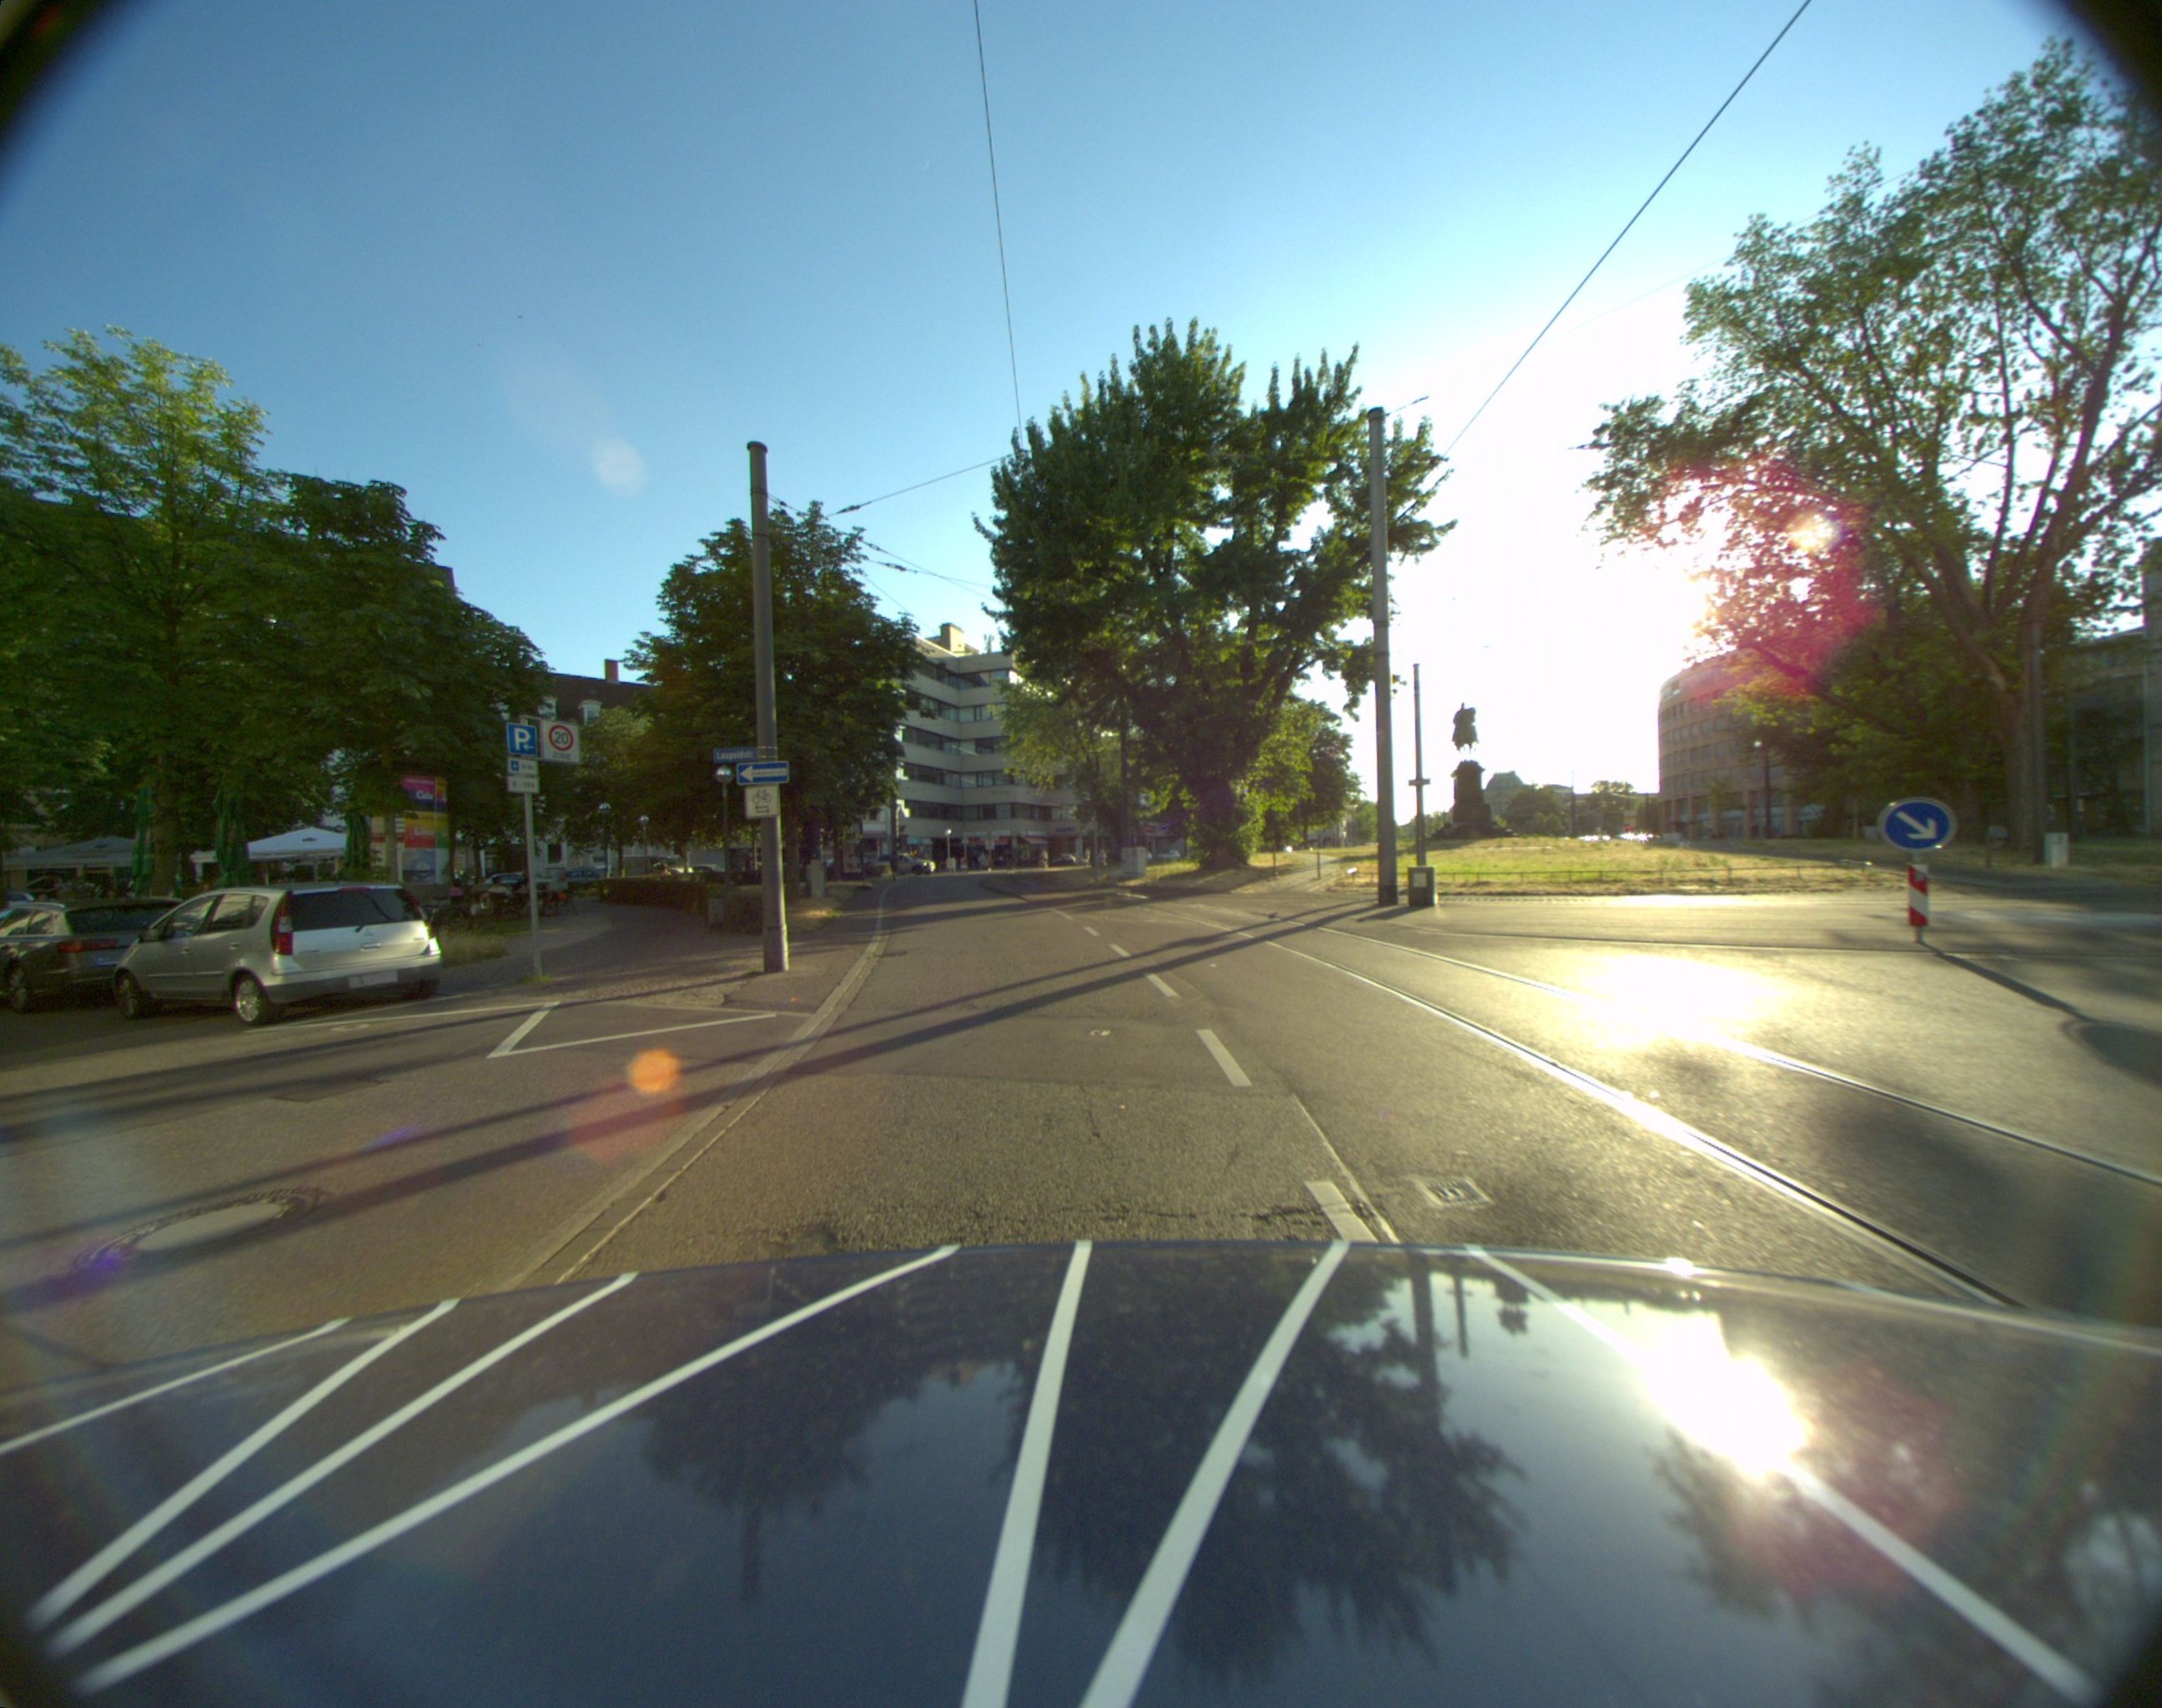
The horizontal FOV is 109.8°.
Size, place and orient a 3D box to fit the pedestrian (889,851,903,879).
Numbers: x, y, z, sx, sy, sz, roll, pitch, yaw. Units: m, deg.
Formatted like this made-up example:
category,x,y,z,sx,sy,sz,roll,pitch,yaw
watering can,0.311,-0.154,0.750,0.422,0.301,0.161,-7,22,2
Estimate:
category,x,y,z,sx,sy,sz,roll,pitch,yaw
pedestrian,-11.474,0.664,47.151,0.588,1.733,0.644,-2,0,14

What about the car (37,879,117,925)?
category,x,y,z,sx,sy,sz,roll,pitch,yaw
car,-43.429,2.037,32.932,3.989,1.763,1.916,-2,1,38

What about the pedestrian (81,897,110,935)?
category,x,y,z,sx,sy,sz,roll,pitch,yaw
pedestrian,-30.451,1.912,23.481,0.529,1.111,0.459,-1,2,41

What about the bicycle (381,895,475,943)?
category,x,y,z,sx,sy,sz,roll,pitch,yaw
bicycle,-14.843,1.460,17.290,0.554,0.924,1.532,-1,2,44

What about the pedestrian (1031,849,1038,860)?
category,x,y,z,sx,sy,sz,roll,pitch,yaw
pedestrian,-5.714,0.112,93.168,0.611,1.313,0.592,-1,2,13

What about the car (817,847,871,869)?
category,x,y,z,sx,sy,sz,roll,pitch,yaw
car,-21.665,0.323,69.647,1.927,1.774,4.237,1,3,45

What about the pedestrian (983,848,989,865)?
category,x,y,z,sx,sy,sz,roll,pitch,yaw
pedestrian,-10.416,0.321,83.574,0.604,1.828,0.573,2,3,-10

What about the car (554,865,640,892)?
category,x,y,z,sx,sy,sz,roll,pitch,yaw
car,-29.727,1.467,46.783,3.996,1.390,2.000,-3,1,5

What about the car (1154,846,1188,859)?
category,x,y,z,sx,sy,sz,roll,pitch,yaw
car,12.272,-0.191,102.961,4.531,1.596,1.995,-3,1,-42

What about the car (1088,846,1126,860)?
category,x,y,z,sx,sy,sz,roll,pitch,yaw
car,3.192,-0.133,93.806,4.531,1.596,1.995,-3,1,-42

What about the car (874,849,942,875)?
category,x,y,z,sx,sy,sz,roll,pitch,yaw
car,-13.626,0.615,59.835,4.702,1.761,2.002,-3,1,12

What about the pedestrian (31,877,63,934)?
category,x,y,z,sx,sy,sz,roll,pitch,yaw
pedestrian,-30.882,1.525,22.698,0.329,1.676,0.388,-2,2,-12

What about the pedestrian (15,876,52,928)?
category,x,y,z,sx,sy,sz,roll,pitch,yaw
pedestrian,-32.700,1.476,23.724,0.638,1.570,0.530,-1,2,41

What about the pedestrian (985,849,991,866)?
category,x,y,z,sx,sy,sz,roll,pitch,yaw
pedestrian,-10.147,0.403,82.977,0.500,1.828,0.533,2,3,-9

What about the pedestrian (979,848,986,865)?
category,x,y,z,sx,sy,sz,roll,pitch,yaw
pedestrian,-10.930,0.295,84.133,0.537,1.828,0.619,0,3,-38

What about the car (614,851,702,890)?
category,x,y,z,sx,sy,sz,roll,pitch,yaw
car,-27.374,1.038,49.157,4.871,2.228,2.097,-3,1,18

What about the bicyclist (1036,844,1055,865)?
category,x,y,z,sx,sy,sz,roll,pitch,yaw
bicyclist,-3.483,0.046,75.359,1.233,1.980,1.369,-2,1,29

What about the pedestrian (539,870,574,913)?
category,x,y,z,sx,sy,sz,roll,pitch,yaw
pedestrian,-15.545,1.110,22.532,0.567,1.237,0.614,-1,2,31

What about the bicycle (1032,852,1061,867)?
category,x,y,z,sx,sy,sz,roll,pitch,yaw
bicycle,-3.388,0.552,75.474,1.269,1.353,3.246,-2,1,29

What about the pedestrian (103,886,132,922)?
category,x,y,z,sx,sy,sz,roll,pitch,yaw
pedestrian,-31.475,1.620,24.833,0.556,1.111,0.494,-1,2,41

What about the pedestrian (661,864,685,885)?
category,x,y,z,sx,sy,sz,roll,pitch,yaw
pedestrian,-24.740,1.230,46.058,0.963,1.219,1.367,-3,1,-42

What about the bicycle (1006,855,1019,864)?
category,x,y,z,sx,sy,sz,roll,pitch,yaw
bicycle,-7.905,0.645,88.025,1.446,0.987,0.531,-1,3,-5

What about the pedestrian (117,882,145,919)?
category,x,y,z,sx,sy,sz,roll,pitch,yaw
pedestrian,-30.042,1.461,24.029,0.556,1.111,0.459,-1,2,41

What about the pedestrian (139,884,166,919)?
category,x,y,z,sx,sy,sz,roll,pitch,yaw
pedestrian,-31.037,1.579,25.405,0.556,1.111,0.494,-1,2,41

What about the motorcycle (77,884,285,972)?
category,x,y,z,sx,sy,sz,roll,pitch,yaw
motorcycle,-16.877,1.345,14.360,2.246,1.360,0.949,-4,2,-28

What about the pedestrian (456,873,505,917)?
category,x,y,z,sx,sy,sz,roll,pitch,yaw
pedestrian,-18.685,1.281,23.659,0.661,1.235,0.953,-6,0,35

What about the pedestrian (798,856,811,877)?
category,x,y,z,sx,sy,sz,roll,pitch,yaw
pedestrian,-24.272,1.065,66.693,0.637,1.789,0.796,-2,1,45

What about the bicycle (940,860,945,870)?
category,x,y,z,sx,sy,sz,roll,pitch,yaw
bicycle,-13.983,1.124,76.752,0.302,0.987,1.292,-3,1,-18

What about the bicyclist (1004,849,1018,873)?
category,x,y,z,sx,sy,sz,roll,pitch,yaw
bicyclist,-5.771,0.557,63.010,0.925,1.962,1.112,-3,1,-13

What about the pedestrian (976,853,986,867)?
category,x,y,z,sx,sy,sz,roll,pitch,yaw
pedestrian,-10.777,0.624,81.726,0.794,1.528,0.568,-4,3,-41

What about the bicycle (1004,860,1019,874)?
category,x,y,z,sx,sy,sz,roll,pitch,yaw
bicycle,-5.760,1.074,63.098,0.936,1.070,2.219,-3,1,-12

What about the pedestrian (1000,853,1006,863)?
category,x,y,z,sx,sy,sz,roll,pitch,yaw
pedestrian,-9.132,0.439,88.693,0.460,1.188,0.421,3,3,22

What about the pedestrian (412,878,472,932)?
category,x,y,z,sx,sy,sz,roll,pitch,yaw
pedestrian,-16.642,1.327,19.791,0.950,1.276,0.664,-6,0,13

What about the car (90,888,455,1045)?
category,x,y,z,sx,sy,sz,roll,pitch,yaw
car,-9.811,1.251,9.272,3.569,1.505,1.741,-2,1,20

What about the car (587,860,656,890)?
category,x,y,z,sx,sy,sz,roll,pitch,yaw
car,-34.293,1.524,56.764,4.007,1.875,1.946,-3,4,-44

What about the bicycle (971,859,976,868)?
category,x,y,z,sx,sy,sz,roll,pitch,yaw
bicycle,-11.429,0.991,80.561,0.302,0.987,1.292,-3,1,-18

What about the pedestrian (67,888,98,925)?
category,x,y,z,sx,sy,sz,roll,pitch,yaw
pedestrian,-31.891,1.671,24.277,0.556,1.111,0.494,-1,2,41

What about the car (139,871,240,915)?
category,x,y,z,sx,sy,sz,roll,pitch,yaw
car,-40.688,1.780,34.676,3.990,1.763,1.915,-3,1,25

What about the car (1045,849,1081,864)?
category,x,y,z,sx,sy,sz,roll,pitch,yaw
car,-2.096,0.287,88.741,4.007,1.434,1.790,-3,1,-43

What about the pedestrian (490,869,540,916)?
category,x,y,z,sx,sy,sz,roll,pitch,yaw
pedestrian,-17.636,1.182,23.691,0.730,1.348,1.017,0,2,34

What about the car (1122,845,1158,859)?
category,x,y,z,sx,sy,sz,roll,pitch,yaw
car,7.717,-0.252,98.356,4.531,1.596,1.995,-3,1,-42

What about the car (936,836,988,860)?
category,x,y,z,sx,sy,sz,roll,pitch,yaw
car,-13.705,-0.661,87.508,5.422,2.712,2.184,0,2,19

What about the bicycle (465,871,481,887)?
category,x,y,z,sx,sy,sz,roll,pitch,yaw
bicycle,-31.061,1.292,38.785,1.271,0.775,0.447,-1,2,44

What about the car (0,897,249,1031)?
category,x,y,z,sx,sy,sz,roll,pitch,yaw
car,-14.448,1.452,10.881,4.663,1.505,1.741,-2,1,20

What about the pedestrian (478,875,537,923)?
category,x,y,z,sx,sy,sz,roll,pitch,yaw
pedestrian,-16.111,1.254,21.351,0.778,1.236,0.990,-2,1,18

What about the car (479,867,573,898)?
category,x,y,z,sx,sy,sz,roll,pitch,yaw
car,-32.120,1.630,44.024,3.996,1.477,2.000,-3,1,5
